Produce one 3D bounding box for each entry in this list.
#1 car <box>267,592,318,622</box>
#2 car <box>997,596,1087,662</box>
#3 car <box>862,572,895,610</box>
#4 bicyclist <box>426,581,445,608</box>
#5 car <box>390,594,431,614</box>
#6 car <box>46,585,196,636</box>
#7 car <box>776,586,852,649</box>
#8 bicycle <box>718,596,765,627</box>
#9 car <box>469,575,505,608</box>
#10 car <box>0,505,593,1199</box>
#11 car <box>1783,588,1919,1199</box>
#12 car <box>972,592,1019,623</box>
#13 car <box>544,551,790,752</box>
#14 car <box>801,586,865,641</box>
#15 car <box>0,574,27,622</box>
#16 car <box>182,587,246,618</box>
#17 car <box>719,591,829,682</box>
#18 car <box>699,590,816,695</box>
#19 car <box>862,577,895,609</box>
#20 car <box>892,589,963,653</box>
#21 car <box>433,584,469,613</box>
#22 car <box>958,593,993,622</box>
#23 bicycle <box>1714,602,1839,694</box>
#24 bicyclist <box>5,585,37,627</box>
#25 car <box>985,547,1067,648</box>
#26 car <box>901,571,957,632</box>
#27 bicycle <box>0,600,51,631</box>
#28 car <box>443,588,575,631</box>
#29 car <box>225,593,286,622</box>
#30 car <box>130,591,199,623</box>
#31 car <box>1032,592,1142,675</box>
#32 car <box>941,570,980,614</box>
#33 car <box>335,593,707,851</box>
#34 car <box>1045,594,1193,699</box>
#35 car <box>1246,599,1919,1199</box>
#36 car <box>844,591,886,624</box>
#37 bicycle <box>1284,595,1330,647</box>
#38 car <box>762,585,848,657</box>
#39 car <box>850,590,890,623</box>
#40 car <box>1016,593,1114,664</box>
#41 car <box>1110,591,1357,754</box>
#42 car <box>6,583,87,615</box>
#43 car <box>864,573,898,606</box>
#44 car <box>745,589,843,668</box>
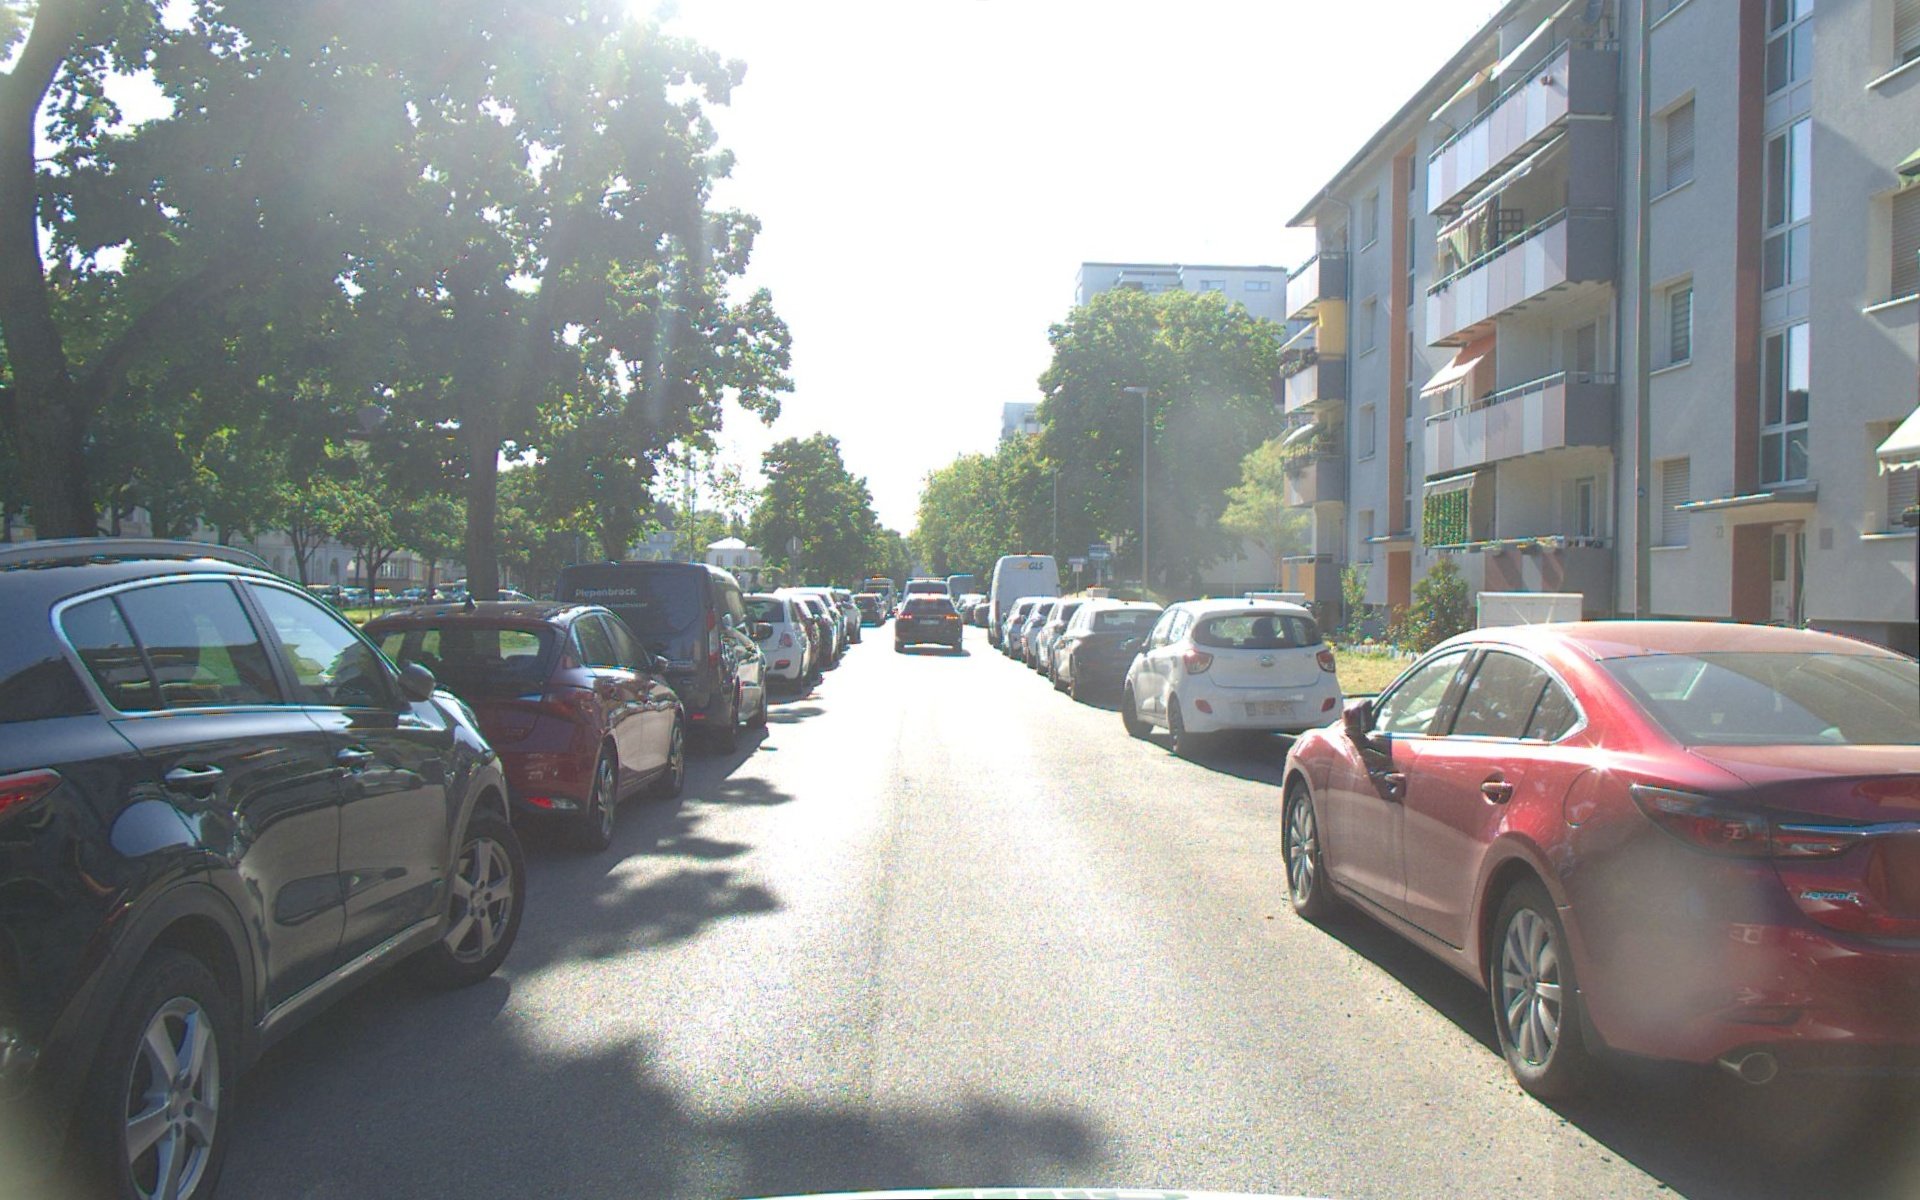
[{"bbox_3d":[-39.722,0.381,98.545,1.599,1.716,4.078,0,0,-4],"label":"car"},{"bbox_3d":[2.015,0.688,41.681,1.812,1.491,4.199,1,1,-3],"label":"car"},{"bbox_3d":[-5.550,-0.620,112.639,2.056,2.540,4.126,0,0,-1],"label":"car"},{"bbox_3d":[-36.953,-0.393,116.573,0.922,1.869,1.449,0,-1,-2],"label":"bicyclist"},{"bbox_3d":[-40.713,0.295,122.591,1.809,1.465,3.773,0,0,-2],"label":"car"},{"bbox_3d":[-27.208,0.322,53.804,4.281,1.604,1.913,0,0,-26],"label":"car"},{"bbox_3d":[-4.091,0.458,46.971,1.805,1.667,4.713,-1,0,-1],"label":"car"},{"bbox_3d":[-8.199,0.444,62.083,1.725,1.147,0.662,0,0,-5],"label":"bicycle"},{"bbox_3d":[-41.517,-0.749,145.304,1.878,2.792,5.620,0,0,-4],"label":"car"},{"bbox_3d":[-2.653,0.669,5.113,1.984,1.654,4.757,-1,0,0],"label":"car"},{"bbox_3d":[2.827,0.777,1.306,1.837,1.560,4.489,0,0,-5],"label":"car"},{"bbox_3d":[1.657,0.351,79.462,2.082,1.361,4.505,-2,0,-1],"label":"car"},{"bbox_3d":[-2.906,0.482,17.455,1.826,1.816,4.989,0,0,-2],"label":"car"},{"bbox_3d":[-4.069,0.406,53.493,1.720,1.676,4.287,-1,0,-1],"label":"car"},{"bbox_3d":[-38.864,-0.073,64.738,2.040,1.905,5.094,0,0,-4],"label":"car"},{"bbox_3d":[-39.127,0.131,86.831,1.599,1.576,4.351,0,0,-4],"label":"car"},{"bbox_3d":[-3.369,0.618,30.703,1.720,1.518,4.665,-1,0,-3],"label":"car"},{"bbox_3d":[-3.152,0.617,26.265,1.555,1.518,3.683,-1,0,-3],"label":"car"},{"bbox_3d":[-5.214,-0.440,106.237,2.056,1.976,4.125,0,0,-1],"label":"car"},{"bbox_3d":[-0.824,0.520,43.613,1.743,1.558,4.000,1,0,0],"label":"car"},{"bbox_3d":[-40.867,-0.110,132.870,1.660,2.252,5.004,0,0,-4],"label":"car"},{"bbox_3d":[0.770,0.370,85.391,1.743,1.395,4.126,0,0,-1],"label":"car"},{"bbox_3d":[10.465,0.592,21.272,0.513,1.089,2.009,-2,0,-3],"label":"bicycle"},{"bbox_3d":[-31.399,0.202,55.292,0.867,1.387,0.616,1,2,-34],"label":"bicyclist"},{"bbox_3d":[1.908,-0.088,49.648,2.099,2.760,6.841,-1,0,0],"label":"car"},{"bbox_3d":[-1.072,0.045,58.179,1.856,2.026,4.010,-1,0,0],"label":"car"},{"bbox_3d":[-31.483,0.509,55.243,1.955,1.034,0.651,0,0,-32],"label":"bicycle"},{"bbox_3d":[-16.100,0.338,59.068,4.281,1.433,1.905,0,2,-26],"label":"car"},{"bbox_3d":[-39.575,0.406,92.995,1.722,1.576,4.524,0,0,-4],"label":"car"},{"bbox_3d":[-39.138,0.320,81.483,1.660,1.553,4.078,0,0,-4],"label":"car"},{"bbox_3d":[2.365,0.591,31.627,1.686,1.460,4.151,0,0,-1],"label":"car"},{"bbox_3d":[0.004,-0.528,106.915,2.120,2.736,5.411,0,0,-5],"label":"car"},{"bbox_3d":[-2.788,0.681,11.379,1.507,1.453,4.087,0,0,-1],"label":"car"},{"bbox_3d":[2.421,0.664,26.197,1.665,1.460,4.469,-1,0,-3],"label":"car"},{"bbox_3d":[2.589,0.764,6.686,1.806,1.498,5.063,0,0,-2],"label":"car"},{"bbox_3d":[-4.319,0.345,75.544,1.712,1.449,3.915,-2,0,-1],"label":"car"},{"bbox_3d":[8.130,0.498,38.837,0.584,1.197,2.013,1,-1,-3],"label":"bicycle"},{"bbox_3d":[-3.771,0.475,40.893,1.783,1.638,4.737,-1,0,-2],"label":"car"},{"bbox_3d":[-4.332,0.310,80.065,1.741,1.521,3.874,-2,0,-1],"label":"car"},{"bbox_3d":[2.295,0.591,37.002,1.840,1.501,4.139,0,0,-1],"label":"car"},{"bbox_3d":[2.777,0.676,17.625,1.713,1.525,3.857,0,0,-5],"label":"car"},{"bbox_3d":[-38.688,-0.062,70.123,1.660,1.301,3.523,0,0,-4],"label":"car"},{"bbox_3d":[-6.581,-0.852,138.068,2.563,2.691,6.113,0,0,0],"label":"car"},{"bbox_3d":[-3.539,0.570,35.869,1.836,1.546,4.468,-2,0,-3],"label":"car"}]
